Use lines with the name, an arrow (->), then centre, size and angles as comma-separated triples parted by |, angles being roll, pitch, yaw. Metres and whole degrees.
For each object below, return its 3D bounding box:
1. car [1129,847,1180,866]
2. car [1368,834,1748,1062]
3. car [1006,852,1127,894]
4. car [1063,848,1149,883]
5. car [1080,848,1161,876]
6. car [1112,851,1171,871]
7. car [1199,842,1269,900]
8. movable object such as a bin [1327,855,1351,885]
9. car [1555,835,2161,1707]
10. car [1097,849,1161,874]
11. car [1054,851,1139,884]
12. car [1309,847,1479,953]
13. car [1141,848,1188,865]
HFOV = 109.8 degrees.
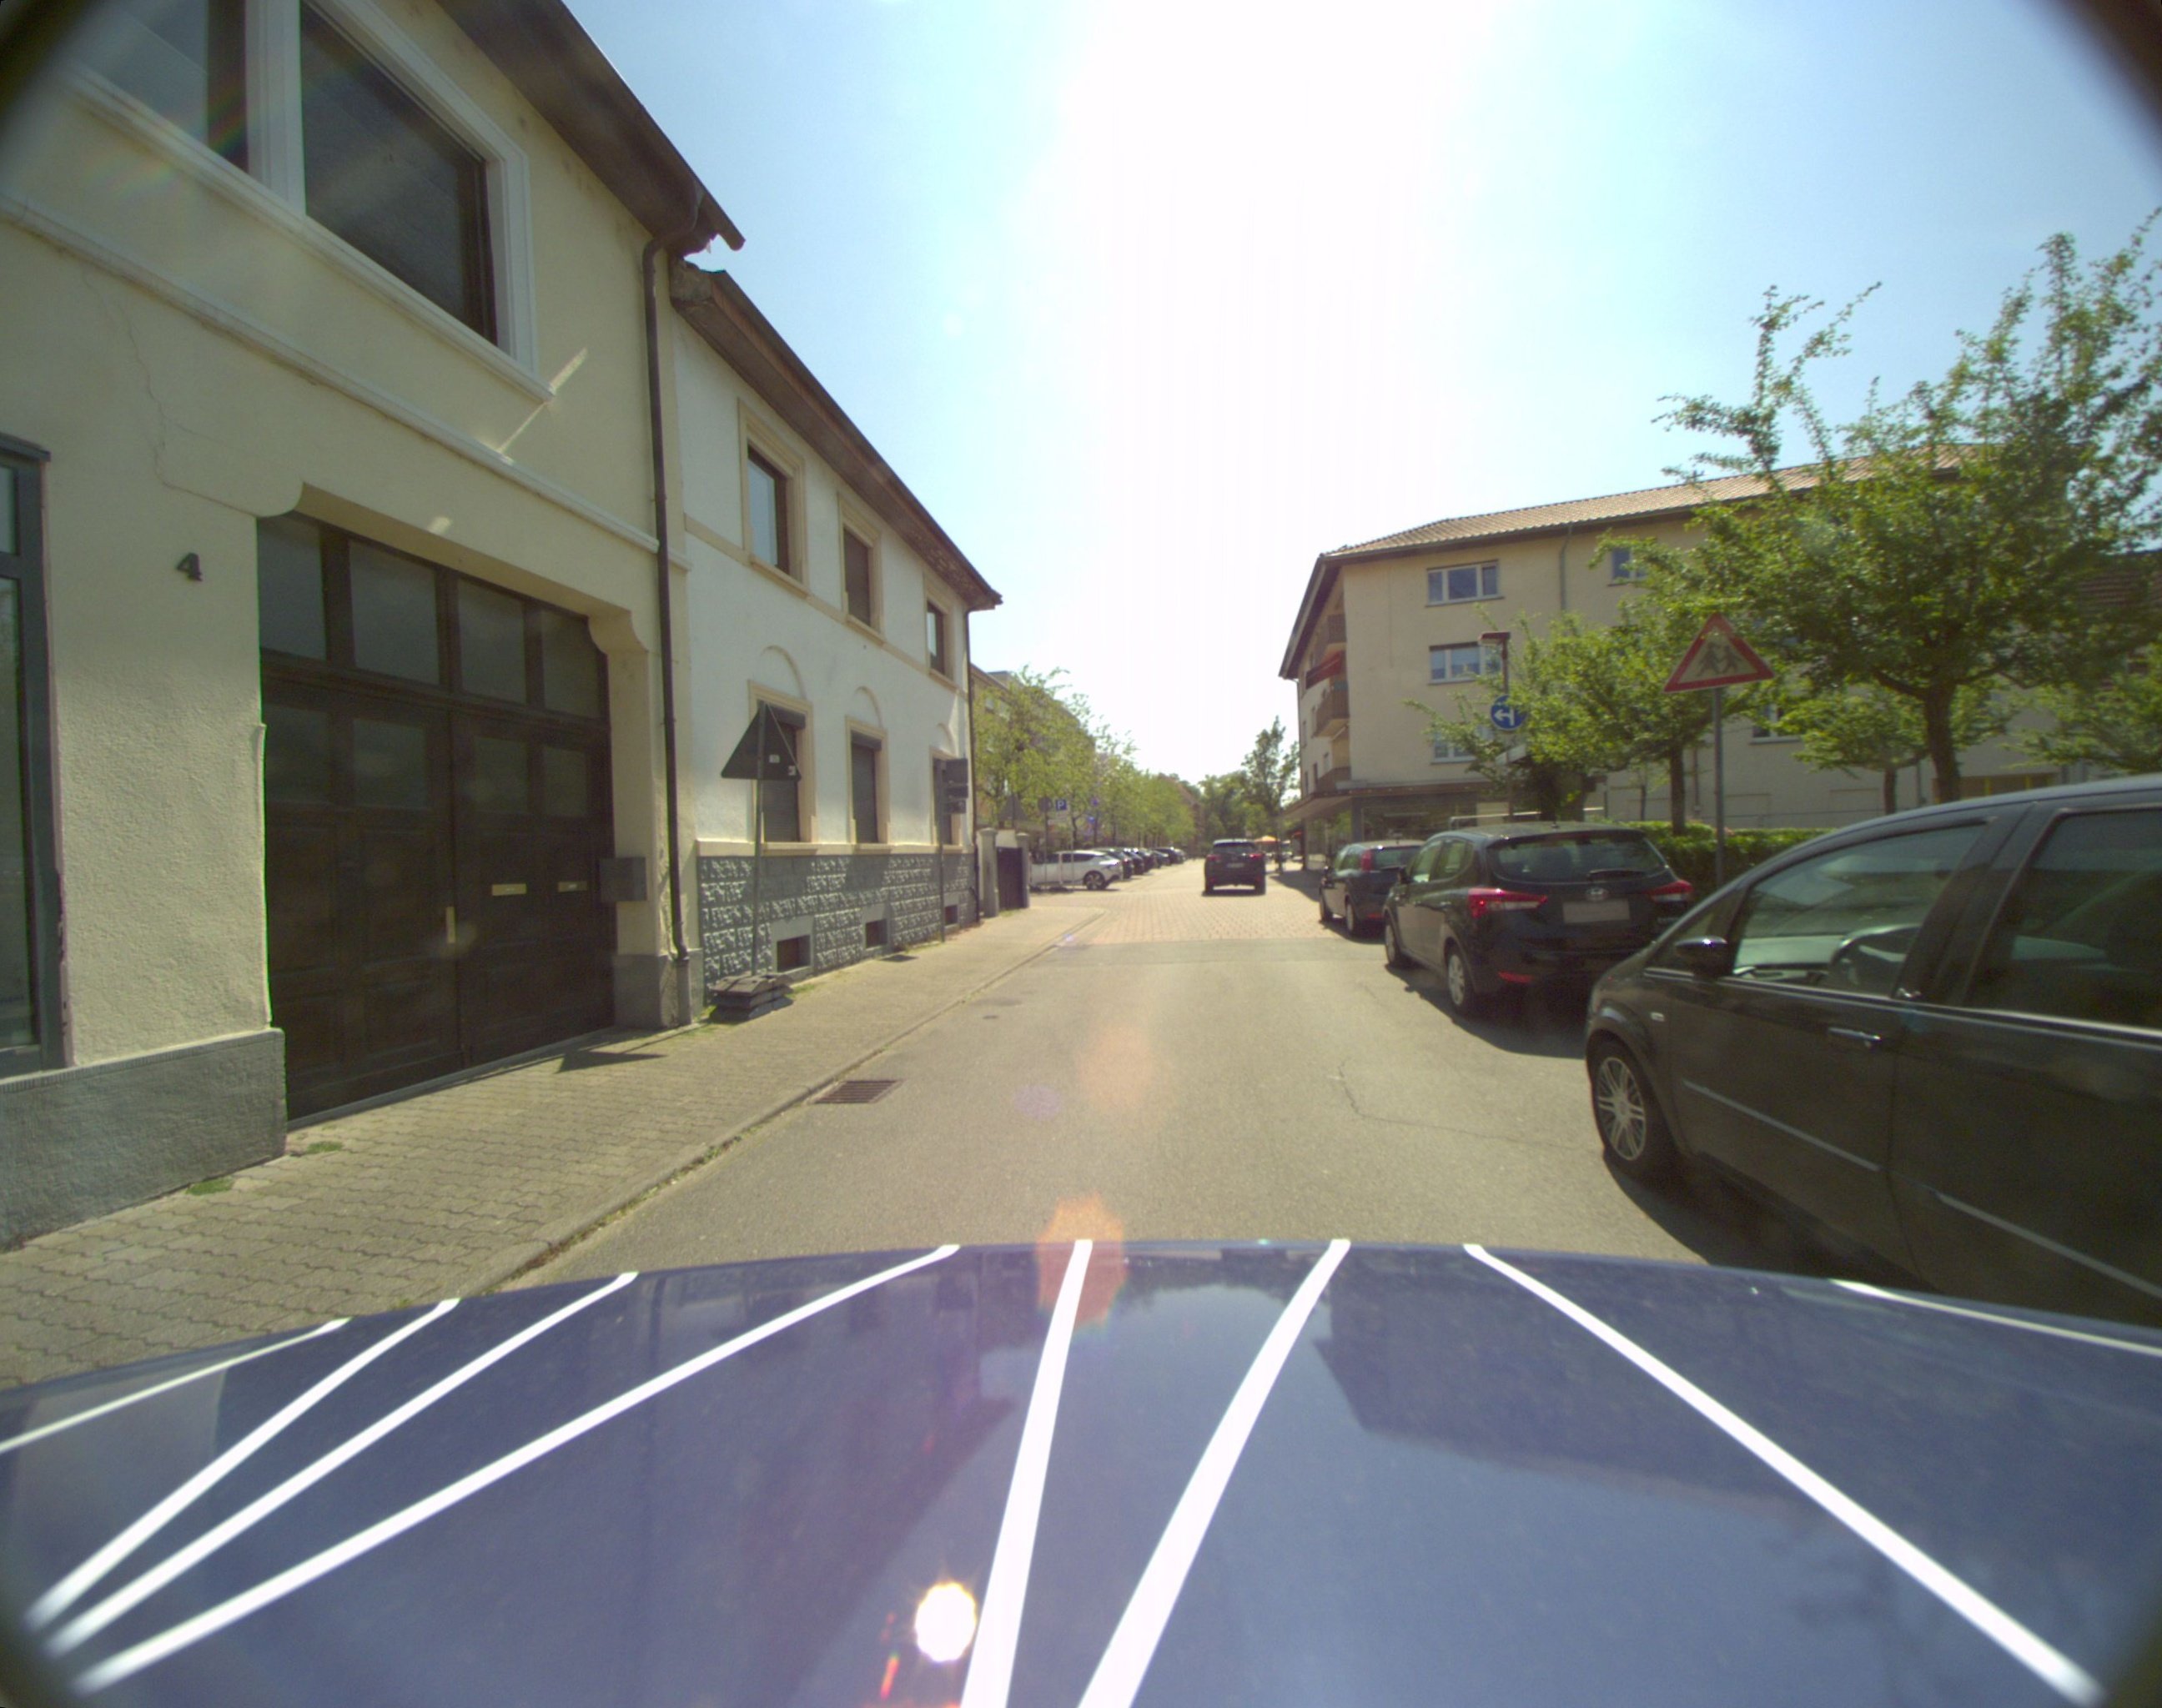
car -> 6.479, 0.192, 66.779 | 4.251, 1.608, 1.758 | -1, 1, 10
car -> 4.146, 0.676, 7.457 | 1.818, 1.595, 4.027 | -3, 0, 12
car -> -0.540, 0.743, 30.095 | 4.447, 1.567, 1.790 | -1, 1, 11
car -> 1.383, 0.599, 40.274 | 4.286, 1.671, 2.002 | -1, 1, 9
car -> 2.366, 0.478, 45.153 | 4.514, 1.579, 1.852 | 0, 1, 14
car -> 4.788, 0.515, 60.794 | 4.386, 1.455, 1.889 | -1, 1, -7
car -> 4.783, 0.474, 24.294 | 1.885, 1.659, 4.155 | -1, 1, 8
movable object such as a bin -> 9.671, 0.585, 28.546 | 0.656, 1.064, 0.664 | -3, 1, 5
car -> 2.818, 0.790, 1.746 | 1.640, 1.619, 3.771 | -3, 0, 11
car -> 3.161, 0.484, 50.027 | 4.033, 1.603, 1.682 | -1, 1, 10
car -> 0.798, 0.657, 37.446 | 3.950, 1.525, 1.825 | -1, 1, 10
car -> 5.182, 0.674, 13.134 | 1.705, 1.488, 3.859 | -3, 0, 7
car -> 8.603, 0.241, 77.918 | 4.582, 1.534, 1.808 | -3, 0, 12
